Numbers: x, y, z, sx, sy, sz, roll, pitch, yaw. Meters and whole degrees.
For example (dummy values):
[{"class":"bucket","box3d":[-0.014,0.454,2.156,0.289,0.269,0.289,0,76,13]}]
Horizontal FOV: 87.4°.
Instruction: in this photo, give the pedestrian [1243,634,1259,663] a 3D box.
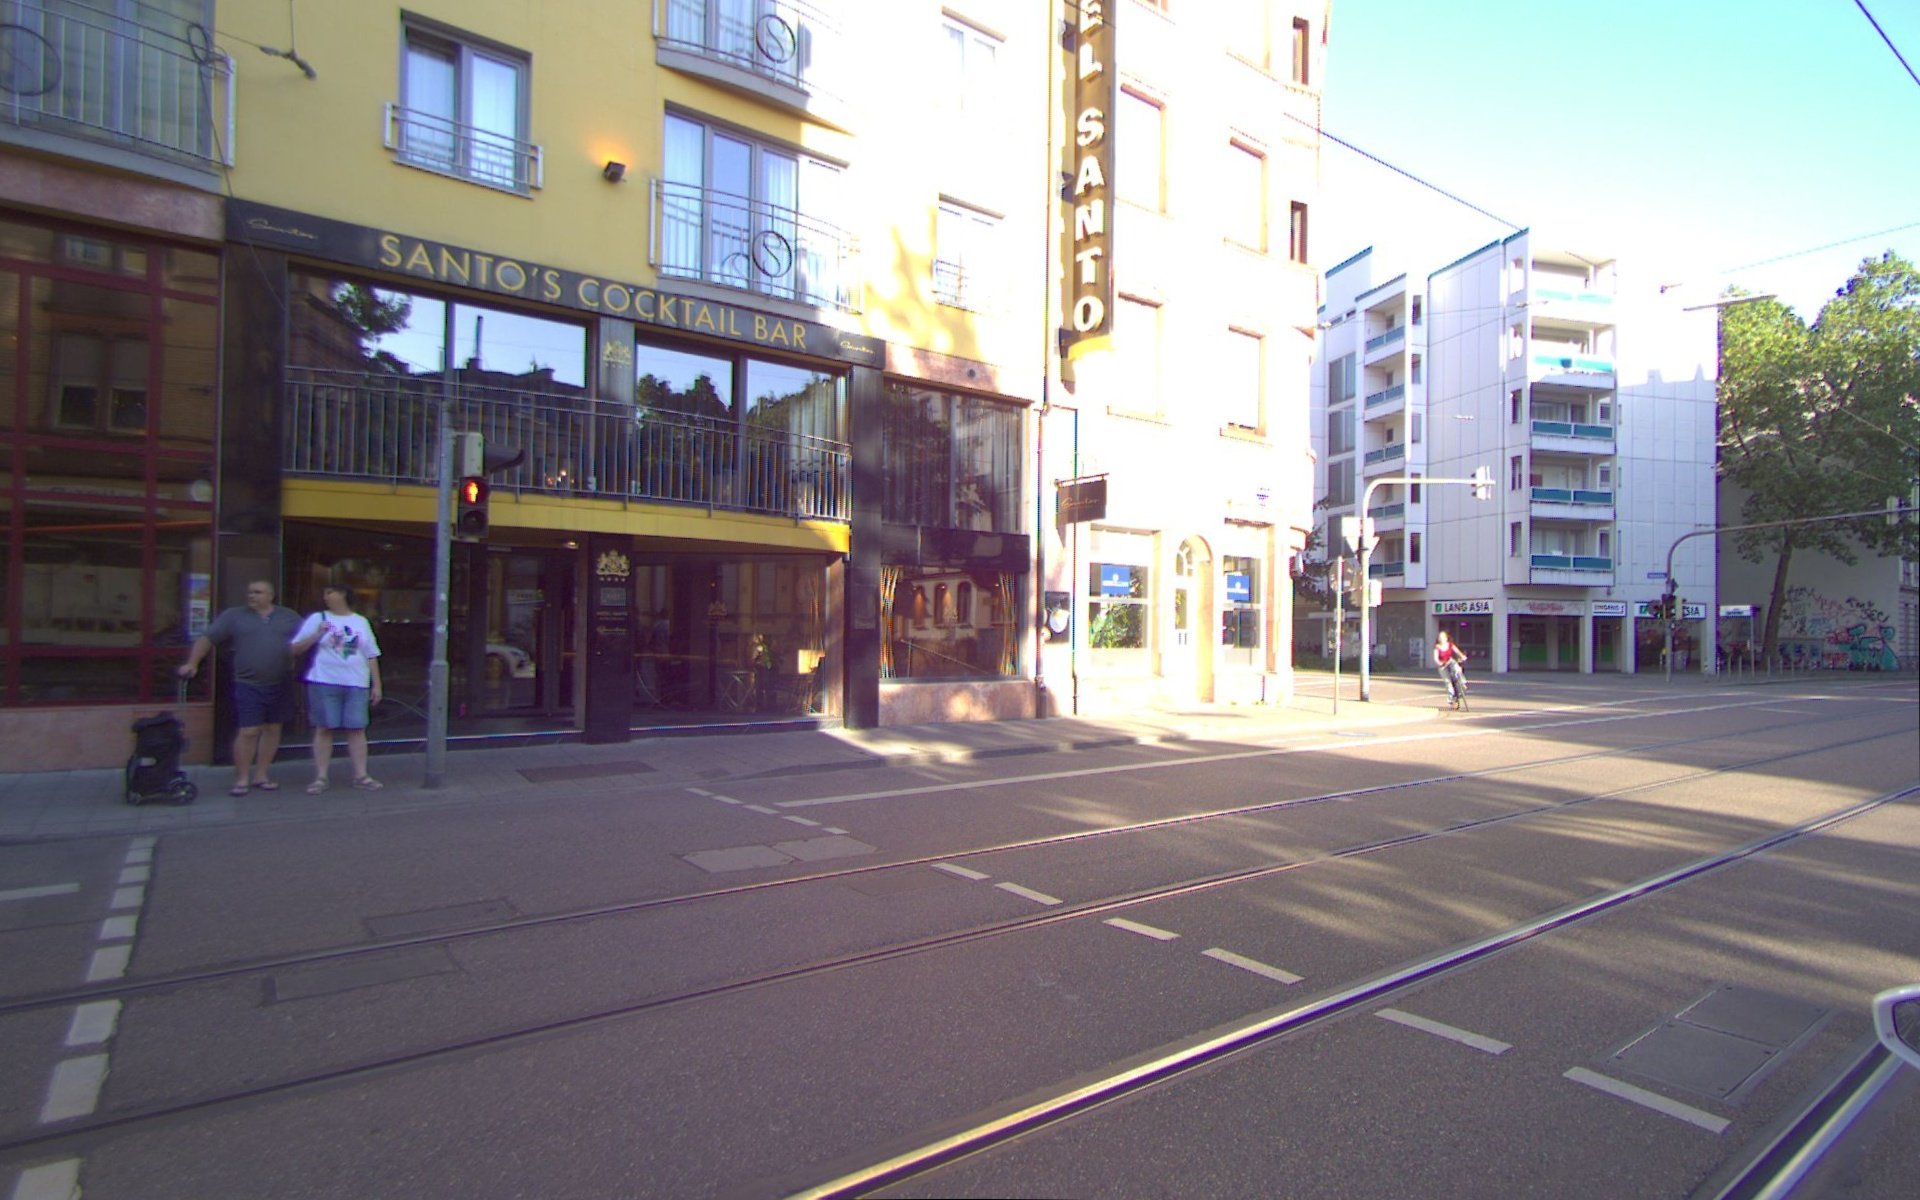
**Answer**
[{"class":"pedestrian","box3d":[17.313,2.889,59.728,0.651,1.718,0.646,1,-1,-14]}]

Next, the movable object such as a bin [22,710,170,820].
[{"class":"movable object such as a bin","box3d":[-6.724,1.271,7.850,0.833,0.726,0.380,1,3,-36]}]

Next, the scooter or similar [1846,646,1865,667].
[{"class":"scooter or similar","box3d":[46.739,2.936,52.444,1.466,1.059,0.512,2,-2,-39]}]

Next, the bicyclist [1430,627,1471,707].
[{"class":"bicyclist","box3d":[10.580,1.427,21.704,0.690,1.665,0.990,0,-2,20]}]

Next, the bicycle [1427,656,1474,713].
[{"class":"bicycle","box3d":[10.548,1.785,21.637,0.685,1.124,1.898,0,-2,19]}]

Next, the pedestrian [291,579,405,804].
[{"class":"pedestrian","box3d":[-5.509,0.768,9.023,0.747,1.843,1.034,1,3,-37]}]

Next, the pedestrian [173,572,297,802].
[{"class":"pedestrian","box3d":[-6.101,0.692,8.463,0.793,1.795,0.741,1,3,-37]}]

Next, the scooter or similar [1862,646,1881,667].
[{"class":"scooter or similar","box3d":[47.142,2.929,51.944,1.466,1.071,0.512,2,-2,-39]}]
